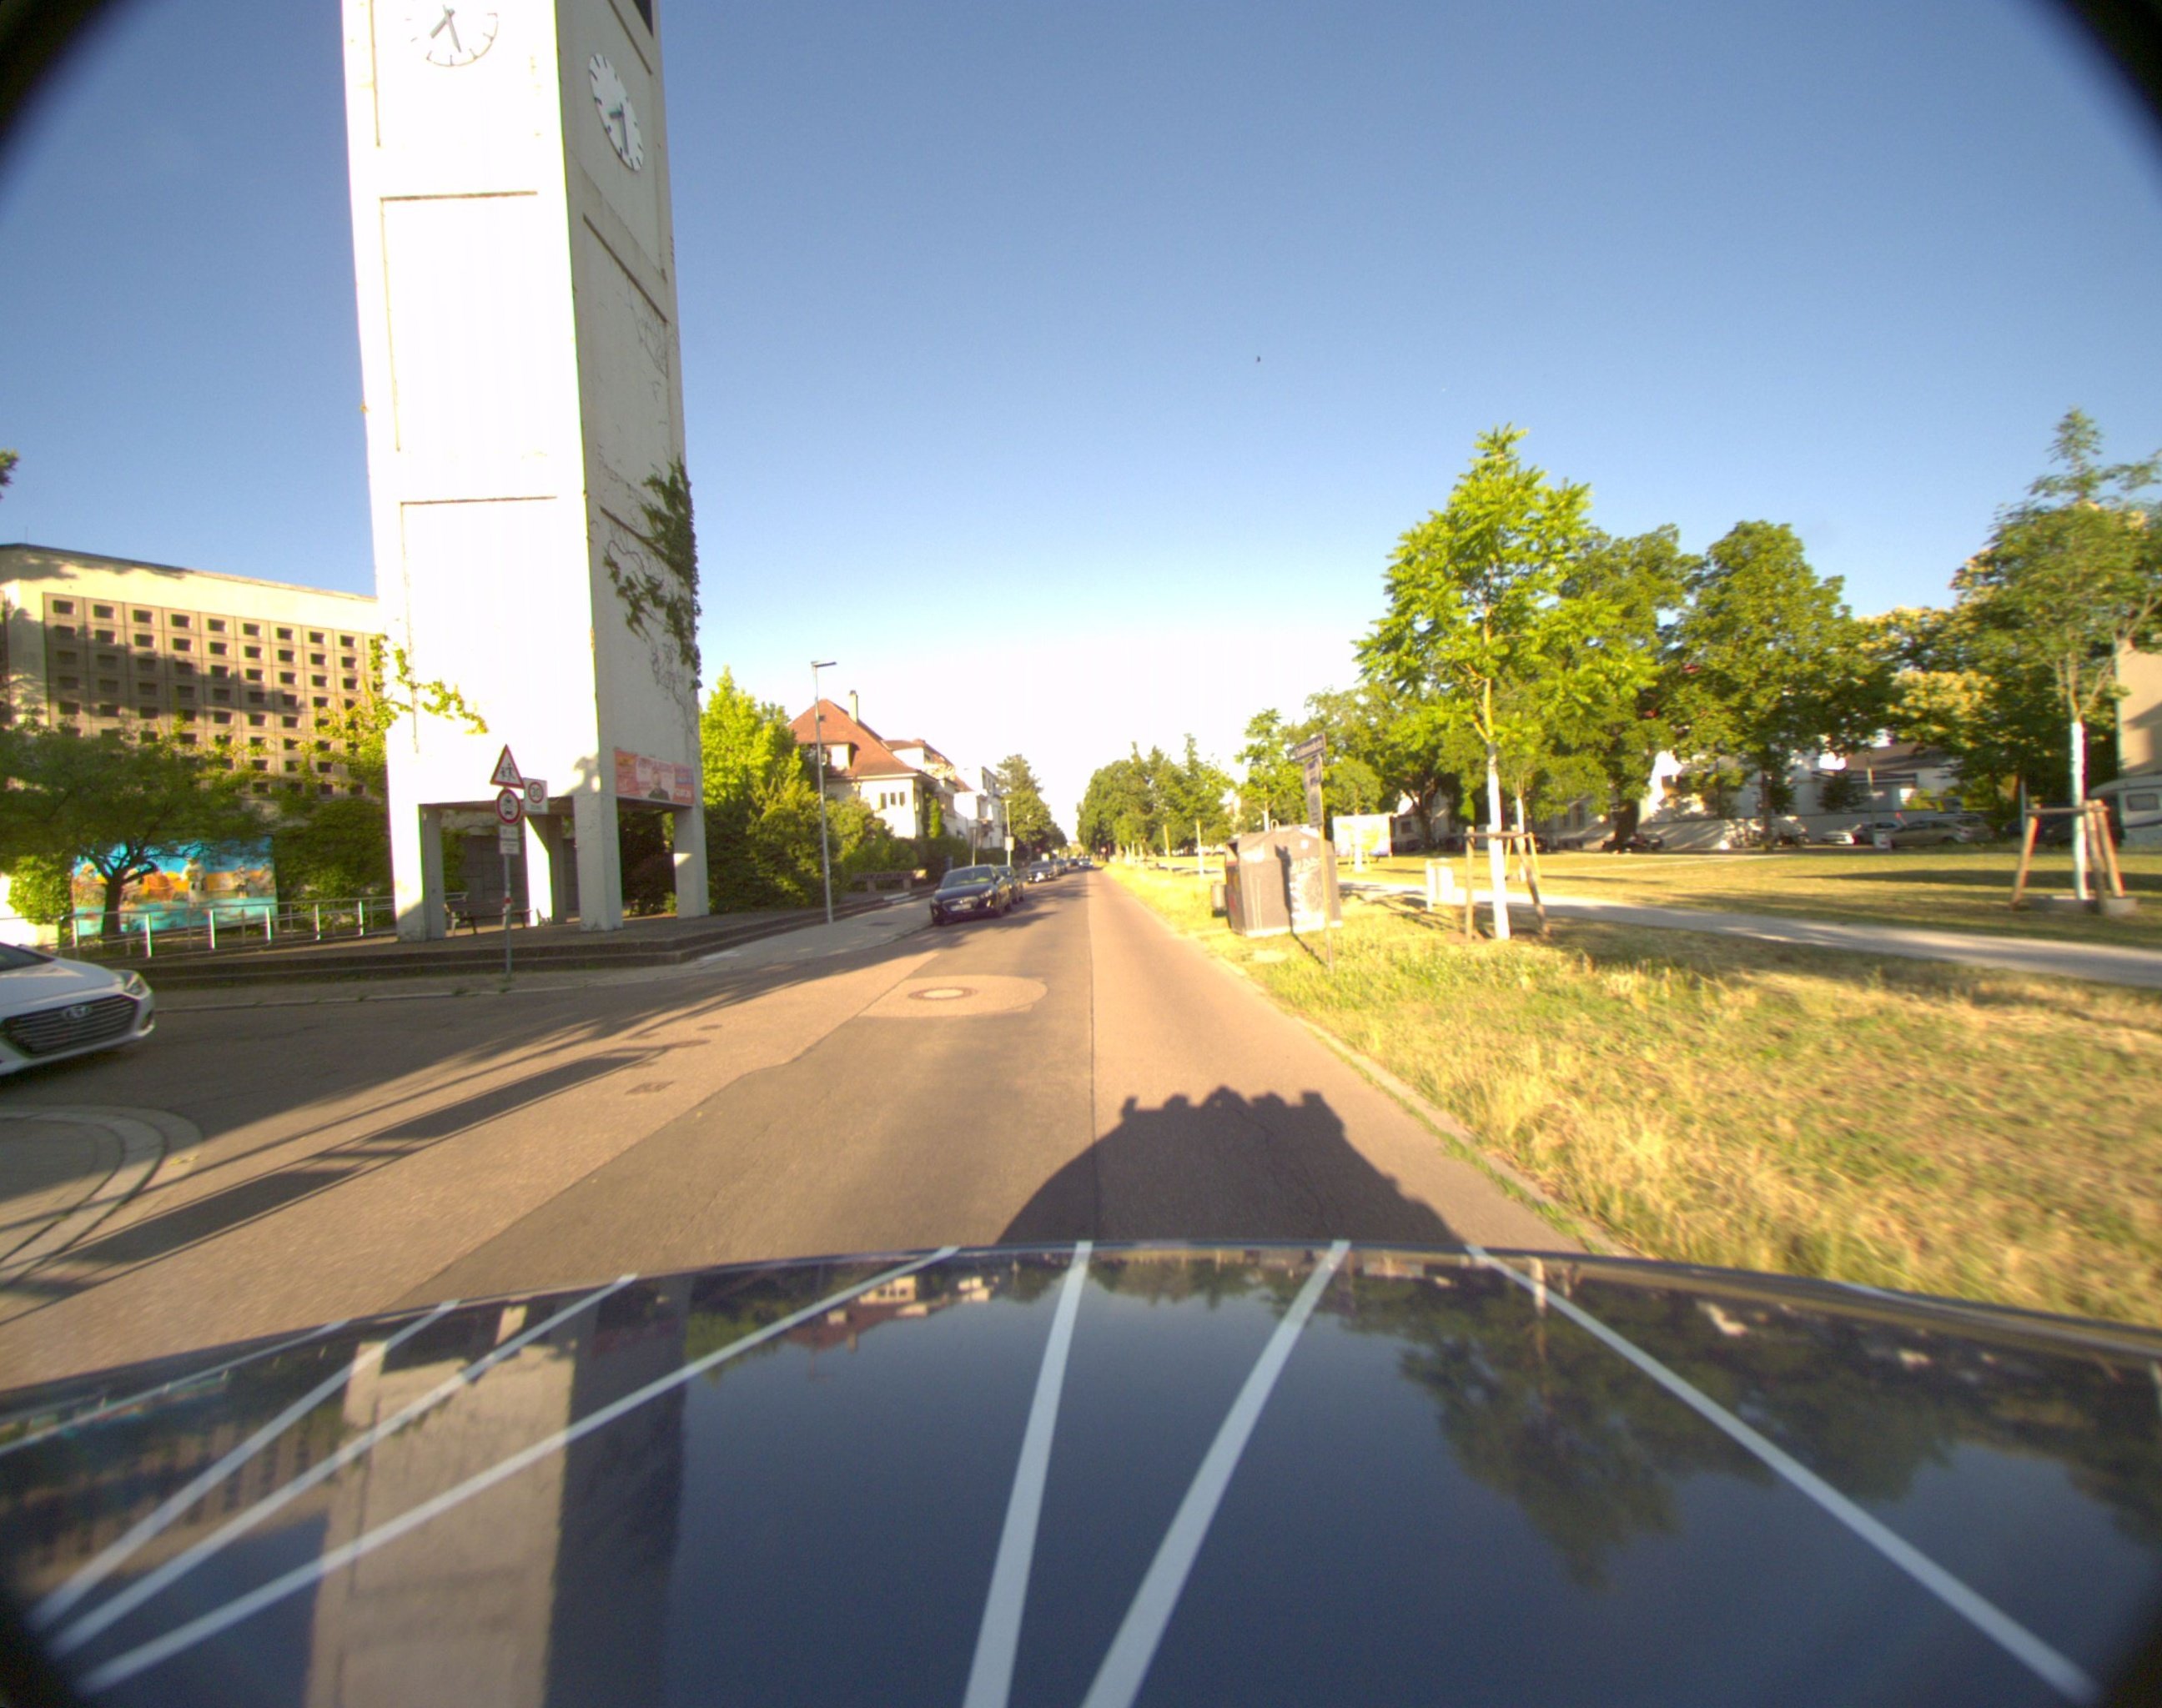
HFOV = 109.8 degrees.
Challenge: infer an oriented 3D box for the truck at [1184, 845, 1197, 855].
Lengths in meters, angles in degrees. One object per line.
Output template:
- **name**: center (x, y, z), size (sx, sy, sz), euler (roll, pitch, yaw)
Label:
- **truck**: center (36.041, -1.334, 250.199), size (2.785, 3.128, 7.710), euler (-3, 0, 0)

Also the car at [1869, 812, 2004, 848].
- **car**: center (40.324, -1.089, 35.952), size (1.999, 1.533, 3.809), euler (-3, 0, -1)

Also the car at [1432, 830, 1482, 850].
- **car**: center (34.574, -1.305, 69.950), size (1.999, 1.632, 4.950), euler (-4, 1, -1)

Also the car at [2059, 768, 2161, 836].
- **car**: center (34.003, -1.668, 23.627), size (1.998, 2.002, 4.000), euler (-3, 0, 1)

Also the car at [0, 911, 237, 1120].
- **car**: center (-11.286, 1.537, 6.882), size (4.859, 1.478, 2.001), euler (-4, 4, 0)

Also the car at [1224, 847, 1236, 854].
- **car**: center (35.845, -0.801, 182.465), size (1.998, 1.692, 4.000), euler (-3, 0, 1)

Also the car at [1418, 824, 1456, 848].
- **car**: center (40.544, -2.066, 86.594), size (1.950, 2.625, 5.043), euler (1, 1, 1)

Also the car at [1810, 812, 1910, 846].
- **car**: center (49.840, -1.586, 48.687), size (4.524, 1.889, 1.980), euler (-3, 0, -4)

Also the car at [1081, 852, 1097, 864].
- **car**: center (1.001, 0.484, 101.428), size (1.999, 1.483, 4.000), euler (-2, 0, 0)

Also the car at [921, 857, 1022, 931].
- **car**: center (-2.898, 1.000, 21.174), size (1.827, 1.552, 4.622), euler (-9, 0, 1)

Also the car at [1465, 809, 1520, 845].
- **car**: center (40.293, -2.603, 74.626), size (1.998, 3.230, 6.075), euler (-3, 0, 1)

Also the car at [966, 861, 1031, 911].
- **car**: center (-2.942, 1.106, 27.885), size (1.692, 1.519, 4.175), euler (-7, -1, 1)

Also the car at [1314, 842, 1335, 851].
- **car**: center (40.899, -1.248, 127.511), size (1.999, 1.490, 3.999), euler (-3, 0, -4)

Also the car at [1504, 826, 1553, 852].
- **car**: center (39.974, -1.338, 67.981), size (1.998, 2.142, 4.000), euler (-3, 0, 1)

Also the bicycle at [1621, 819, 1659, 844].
- **bicycle**: center (31.217, -1.223, 42.487), size (0.512, 1.334, 2.331), euler (-3, 0, 4)

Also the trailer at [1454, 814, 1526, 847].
- **trailer**: center (34.353, -1.948, 64.094), size (2.479, 2.644, 6.635), euler (1, 1, 0)

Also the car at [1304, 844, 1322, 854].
- **car**: center (35.171, -0.767, 115.196), size (1.894, 1.513, 3.681), euler (-2, 0, 6)

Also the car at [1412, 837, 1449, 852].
- **car**: center (34.544, -0.924, 75.217), size (1.857, 1.308, 4.042), euler (-4, 1, 3)

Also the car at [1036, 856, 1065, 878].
- **car**: center (-2.550, 1.048, 64.481), size (1.888, 1.528, 4.461), euler (-6, 1, 2)

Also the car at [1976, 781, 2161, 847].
- **car**: center (40.154, -1.536, 30.709), size (1.942, 2.405, 5.116), euler (1, 1, 1)

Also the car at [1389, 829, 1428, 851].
- **car**: center (34.609, -1.419, 80.503), size (1.999, 2.161, 4.571), euler (-3, 0, -2)

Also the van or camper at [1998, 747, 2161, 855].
- **van or camper**: center (34.003, -1.668, 23.627), size (2.648, 3.243, 6.905), euler (-3, 0, 1)

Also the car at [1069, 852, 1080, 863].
- **car**: center (-1.285, 0.774, 154.922), size (1.998, 2.179, 4.001), euler (-3, 0, 1)

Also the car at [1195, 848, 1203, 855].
- **car**: center (36.377, -0.702, 234.397), size (1.998, 2.002, 4.001), euler (-3, 0, 3)

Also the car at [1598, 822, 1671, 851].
- **car**: center (40.379, -1.247, 55.558), size (1.894, 1.901, 4.714), euler (-3, 0, 1)

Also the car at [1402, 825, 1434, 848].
- **car**: center (40.533, -2.132, 91.452), size (1.998, 2.527, 3.999), euler (-3, 2, 1)

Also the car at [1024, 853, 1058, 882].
- **car**: center (-2.724, 0.911, 53.328), size (1.999, 1.588, 4.885), euler (-7, 1, 0)

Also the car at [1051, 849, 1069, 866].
- **car**: center (-2.404, 0.375, 88.991), size (1.806, 1.639, 4.583), euler (-8, 1, -1)

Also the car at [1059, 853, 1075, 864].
- **car**: center (-2.168, 0.761, 118.106), size (2.111, 1.396, 4.132), euler (-8, 0, 1)
